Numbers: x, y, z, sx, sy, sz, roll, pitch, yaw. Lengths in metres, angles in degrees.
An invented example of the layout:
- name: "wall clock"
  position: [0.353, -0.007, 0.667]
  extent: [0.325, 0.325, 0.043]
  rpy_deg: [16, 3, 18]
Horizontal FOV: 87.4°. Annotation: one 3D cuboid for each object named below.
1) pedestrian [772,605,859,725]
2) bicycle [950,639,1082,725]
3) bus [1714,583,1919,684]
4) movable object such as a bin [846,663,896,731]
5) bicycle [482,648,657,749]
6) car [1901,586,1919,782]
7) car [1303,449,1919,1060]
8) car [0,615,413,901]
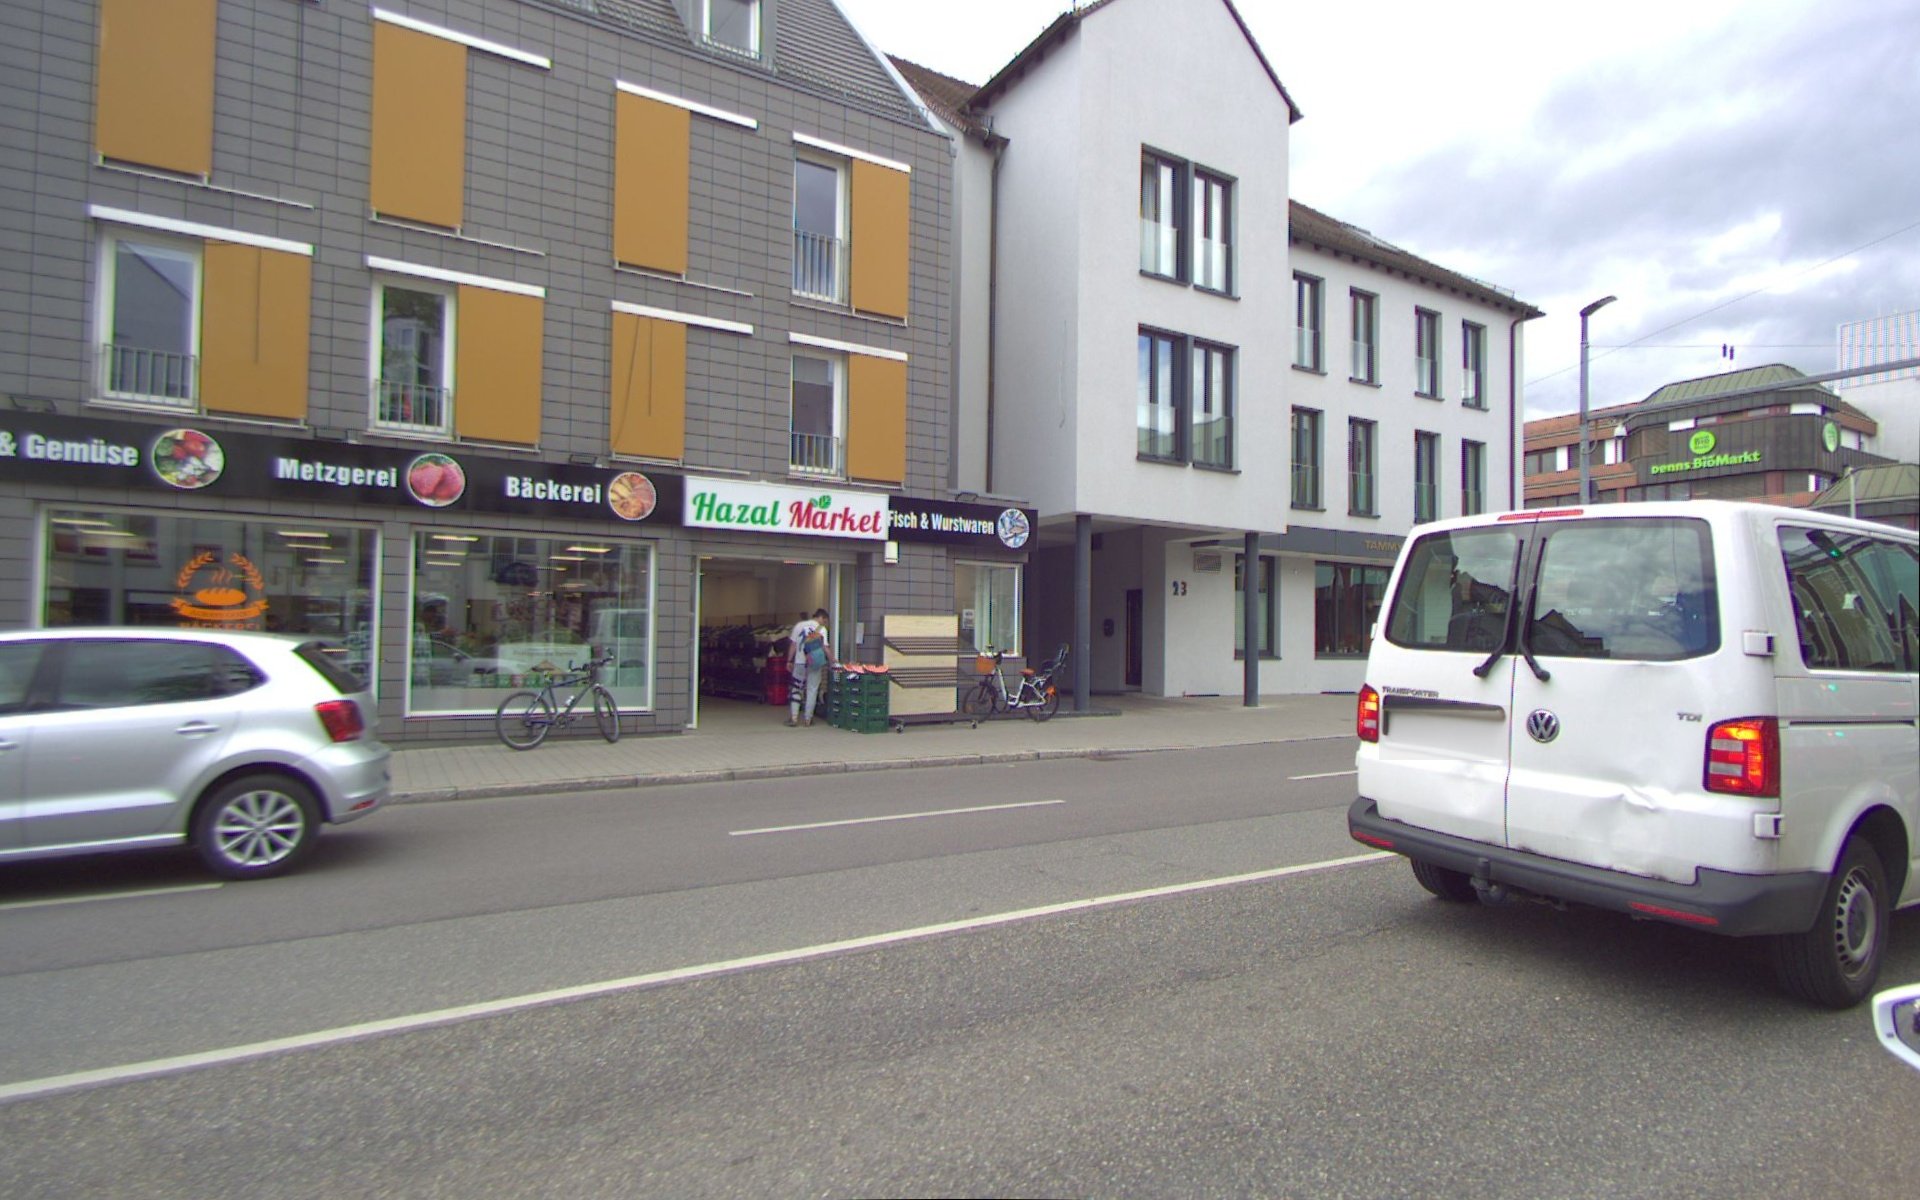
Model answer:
- name: "pedestrian"
  position: [-2.097, 0.917, 14.536]
  extent: [0.960, 1.665, 0.883]
  rpy_deg: [1, -1, -31]
- name: "bicycle"
  position: [0.898, 1.246, 15.635]
  extent: [2.096, 1.248, 0.579]
  rpy_deg: [2, -1, -32]
- name: "bus"
  position: [33.547, 1.213, 36.237]
  extent: [12.093, 3.370, 2.991]
  rpy_deg: [0, -4, -13]
- name: "movable object such as a bin"
  position: [-1.260, 1.362, 14.213]
  extent: [0.501, 0.911, 0.548]
  rpy_deg: [1, -1, -32]
- name: "bicycle"
  position: [-4.651, 1.140, 12.009]
  extent: [1.880, 1.115, 0.569]
  rpy_deg: [1, -1, -31]
- name: "car"
  position: [11.334, 0.859, 10.027]
  extent: [4.521, 1.845, 1.698]
  rpy_deg: [2, 0, -32]
- name: "car"
  position: [4.300, 0.565, 5.441]
  extent: [4.784, 2.040, 1.983]
  rpy_deg: [2, 0, -31]
- name: "car"
  position: [-5.498, 0.831, 5.859]
  extent: [3.989, 1.467, 1.750]
  rpy_deg: [2, -2, -31]
